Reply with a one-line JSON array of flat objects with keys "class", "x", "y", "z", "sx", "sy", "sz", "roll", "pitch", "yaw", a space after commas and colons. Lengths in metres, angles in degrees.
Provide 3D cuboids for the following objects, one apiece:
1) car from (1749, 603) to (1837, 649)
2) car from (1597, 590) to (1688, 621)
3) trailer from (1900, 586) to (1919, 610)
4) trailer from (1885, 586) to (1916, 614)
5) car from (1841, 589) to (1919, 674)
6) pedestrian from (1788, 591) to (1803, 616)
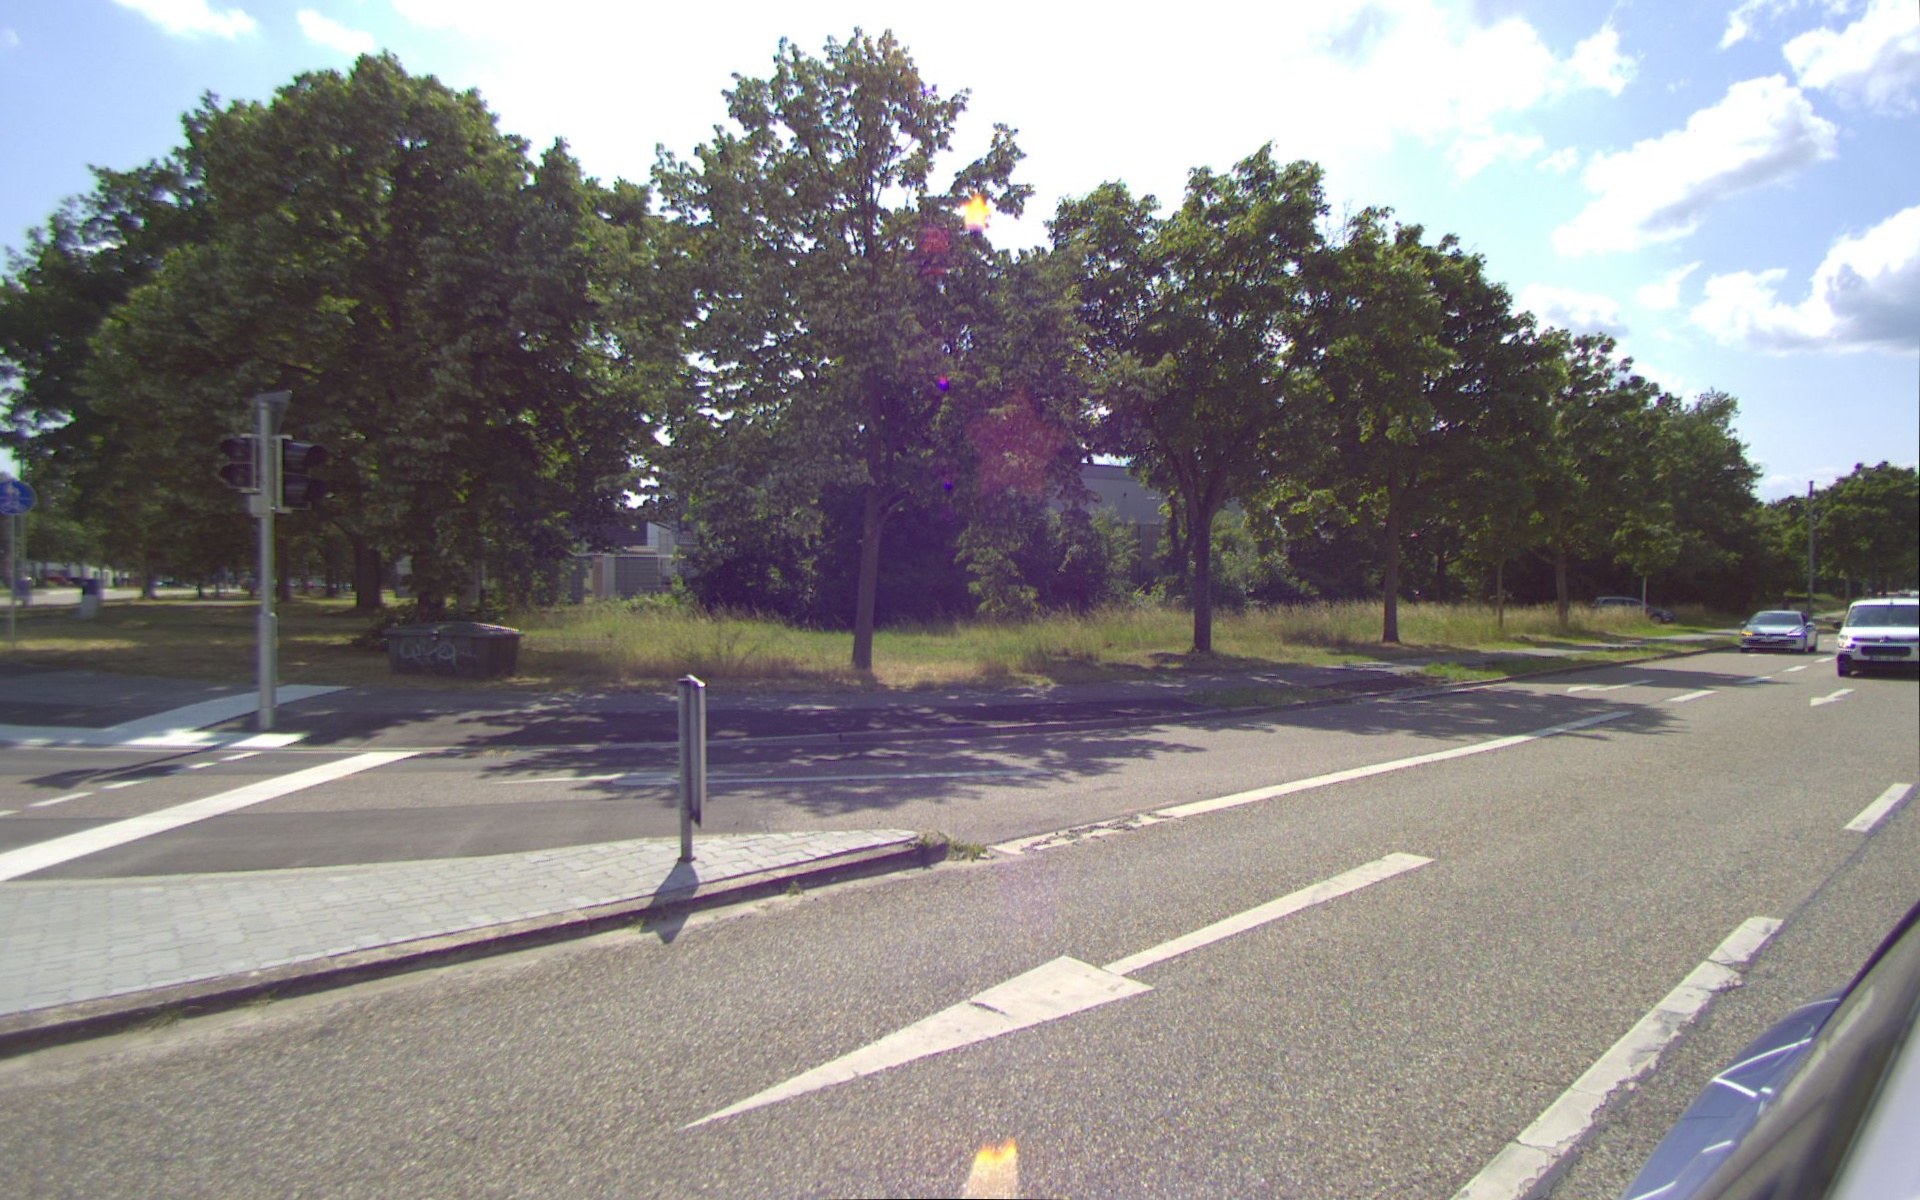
[{"class": "car", "x": 28.791, "y": 0.859, "z": 34.942, "sx": 4.021, "sy": 1.505, "sz": 1.735, "roll": 0, "pitch": 0, "yaw": -41}, {"class": "car", "x": 40.144, "y": 0.304, "z": 59.554, "sx": 4.163, "sy": 1.512, "sz": 1.757, "roll": 4, "pitch": 1, "yaw": 43}, {"class": "trailer", "x": 100.813, "y": -0.241, "z": 106.769, "sx": 4.704, "sy": 2.393, "sz": 1.996, "roll": -1, "pitch": 5, "yaw": -44}, {"class": "trailer", "x": 86.062, "y": -0.023, "z": 92.557, "sx": 1.953, "sy": 2.380, "sz": 4.533, "roll": 2, "pitch": 2, "yaw": 44}, {"class": "car", "x": 21.882, "y": 0.683, "z": 23.296, "sx": 4.636, "sy": 1.808, "sz": 1.932, "roll": 0, "pitch": -2, "yaw": -43}, {"class": "pedestrian", "x": 62.388, "y": 0.286, "z": 75.568, "sx": 0.728, "sy": 1.817, "sz": 0.717, "roll": -1, "pitch": -1, "yaw": -45}]
